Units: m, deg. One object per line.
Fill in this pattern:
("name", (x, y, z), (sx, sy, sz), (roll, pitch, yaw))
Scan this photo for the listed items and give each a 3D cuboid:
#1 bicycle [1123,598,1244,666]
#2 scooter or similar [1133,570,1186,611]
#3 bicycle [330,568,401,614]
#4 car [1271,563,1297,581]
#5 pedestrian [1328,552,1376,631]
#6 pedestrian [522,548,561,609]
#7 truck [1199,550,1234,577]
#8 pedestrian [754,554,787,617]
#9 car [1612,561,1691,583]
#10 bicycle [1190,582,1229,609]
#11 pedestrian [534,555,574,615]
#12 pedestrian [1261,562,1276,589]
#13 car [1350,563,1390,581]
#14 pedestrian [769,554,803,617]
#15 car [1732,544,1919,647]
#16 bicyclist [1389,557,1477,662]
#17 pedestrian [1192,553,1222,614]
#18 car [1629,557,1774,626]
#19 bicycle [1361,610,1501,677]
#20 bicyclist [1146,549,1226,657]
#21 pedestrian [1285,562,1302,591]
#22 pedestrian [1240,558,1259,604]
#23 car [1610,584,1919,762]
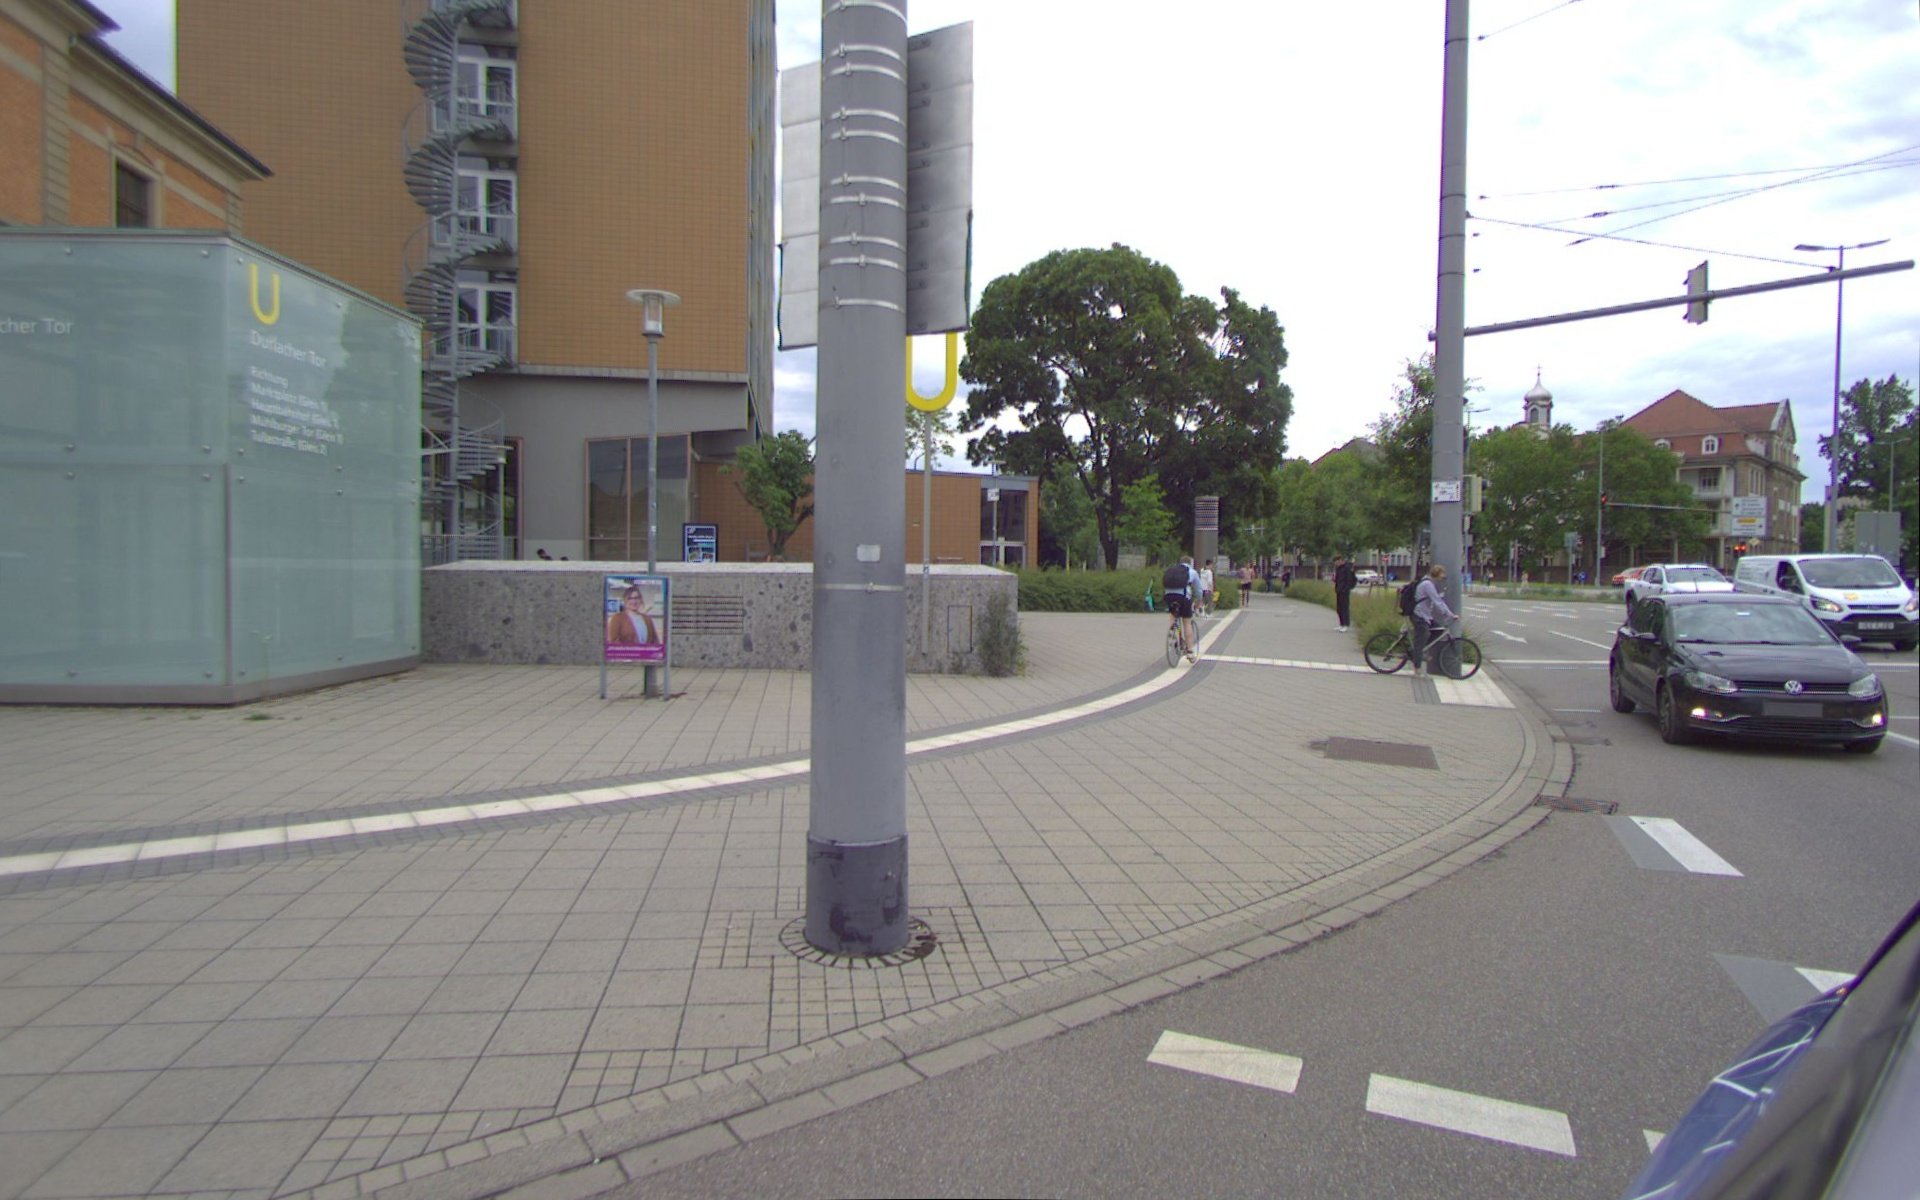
("bicycle", (3.406, 0.472, 15.390), (1.823, 0.944, 0.673), (1, 3, -34))
("scooter or similar", (6.635, -0.317, 33.723), (1.571, 1.306, 0.696), (-1, 1, -11))
("bicycle", (-18.370, -0.302, 31.344), (0.798, 1.356, 2.614), (-1, 1, -4))
("car", (39.615, -3.418, 123.845), (1.963, 2.038, 3.985), (-1, 1, 2))
("pedestrian", (9.869, -0.224, 25.483), (0.856, 1.952, 0.726), (0, 1, -13))
("pedestrian", (-12.220, -0.620, 29.537), (0.857, 1.758, 0.725), (0, 1, -2))
("truck", (38.997, -5.537, 154.333), (2.856, 4.074, 7.170), (-1, 1, -5))
("pedestrian", (-5.440, -0.423, 29.020), (0.855, 1.764, 0.726), (0, 1, -17))
("car", (56.045, -2.284, 82.043), (5.139, 1.738, 1.915), (0, 2, -4))
("bicycle", (8.512, -0.159, 34.499), (0.554, 0.859, 2.047), (1, 2, 35))
("pedestrian", (-11.502, -0.429, 28.688), (0.857, 1.651, 0.725), (0, 1, -2))
("pedestrian", (21.298, -1.713, 69.870), (0.706, 1.822, 0.599), (2, 2, -26))
("car", (42.300, -2.858, 104.384), (1.959, 1.749, 4.008), (-1, 1, -10))
("pedestrian", (-4.867, -0.409, 28.272), (0.855, 1.752, 0.726), (0, 1, -17))
("car", (18.659, -0.155, 21.648), (1.974, 1.966, 4.498), (1, 2, 18))
("bicyclist", (7.190, 0.124, 15.430), (1.086, 1.539, 0.756), (1, 1, 17))
("pedestrian", (7.531, -0.506, 30.847), (0.690, 1.827, 0.839), (0, 1, 1))
("car", (21.932, -0.322, 30.198), (2.063, 1.871, 4.725), (1, 2, 18))
("bicycle", (7.160, 0.644, 15.478), (1.802, 0.850, 0.763), (3, 2, 17))
("bicyclist", (3.442, 0.040, 15.414), (0.908, 1.579, 0.693), (1, 2, -35))
("pedestrian", (21.623, -1.506, 65.599), (0.706, 1.822, 0.599), (2, 2, -26))
("pedestrian", (11.738, -0.761, 41.090), (0.622, 1.822, 0.594), (4, 2, 17))
("car", (8.171, 0.576, 10.645), (1.639, 1.430, 3.968), (1, 2, 24))
